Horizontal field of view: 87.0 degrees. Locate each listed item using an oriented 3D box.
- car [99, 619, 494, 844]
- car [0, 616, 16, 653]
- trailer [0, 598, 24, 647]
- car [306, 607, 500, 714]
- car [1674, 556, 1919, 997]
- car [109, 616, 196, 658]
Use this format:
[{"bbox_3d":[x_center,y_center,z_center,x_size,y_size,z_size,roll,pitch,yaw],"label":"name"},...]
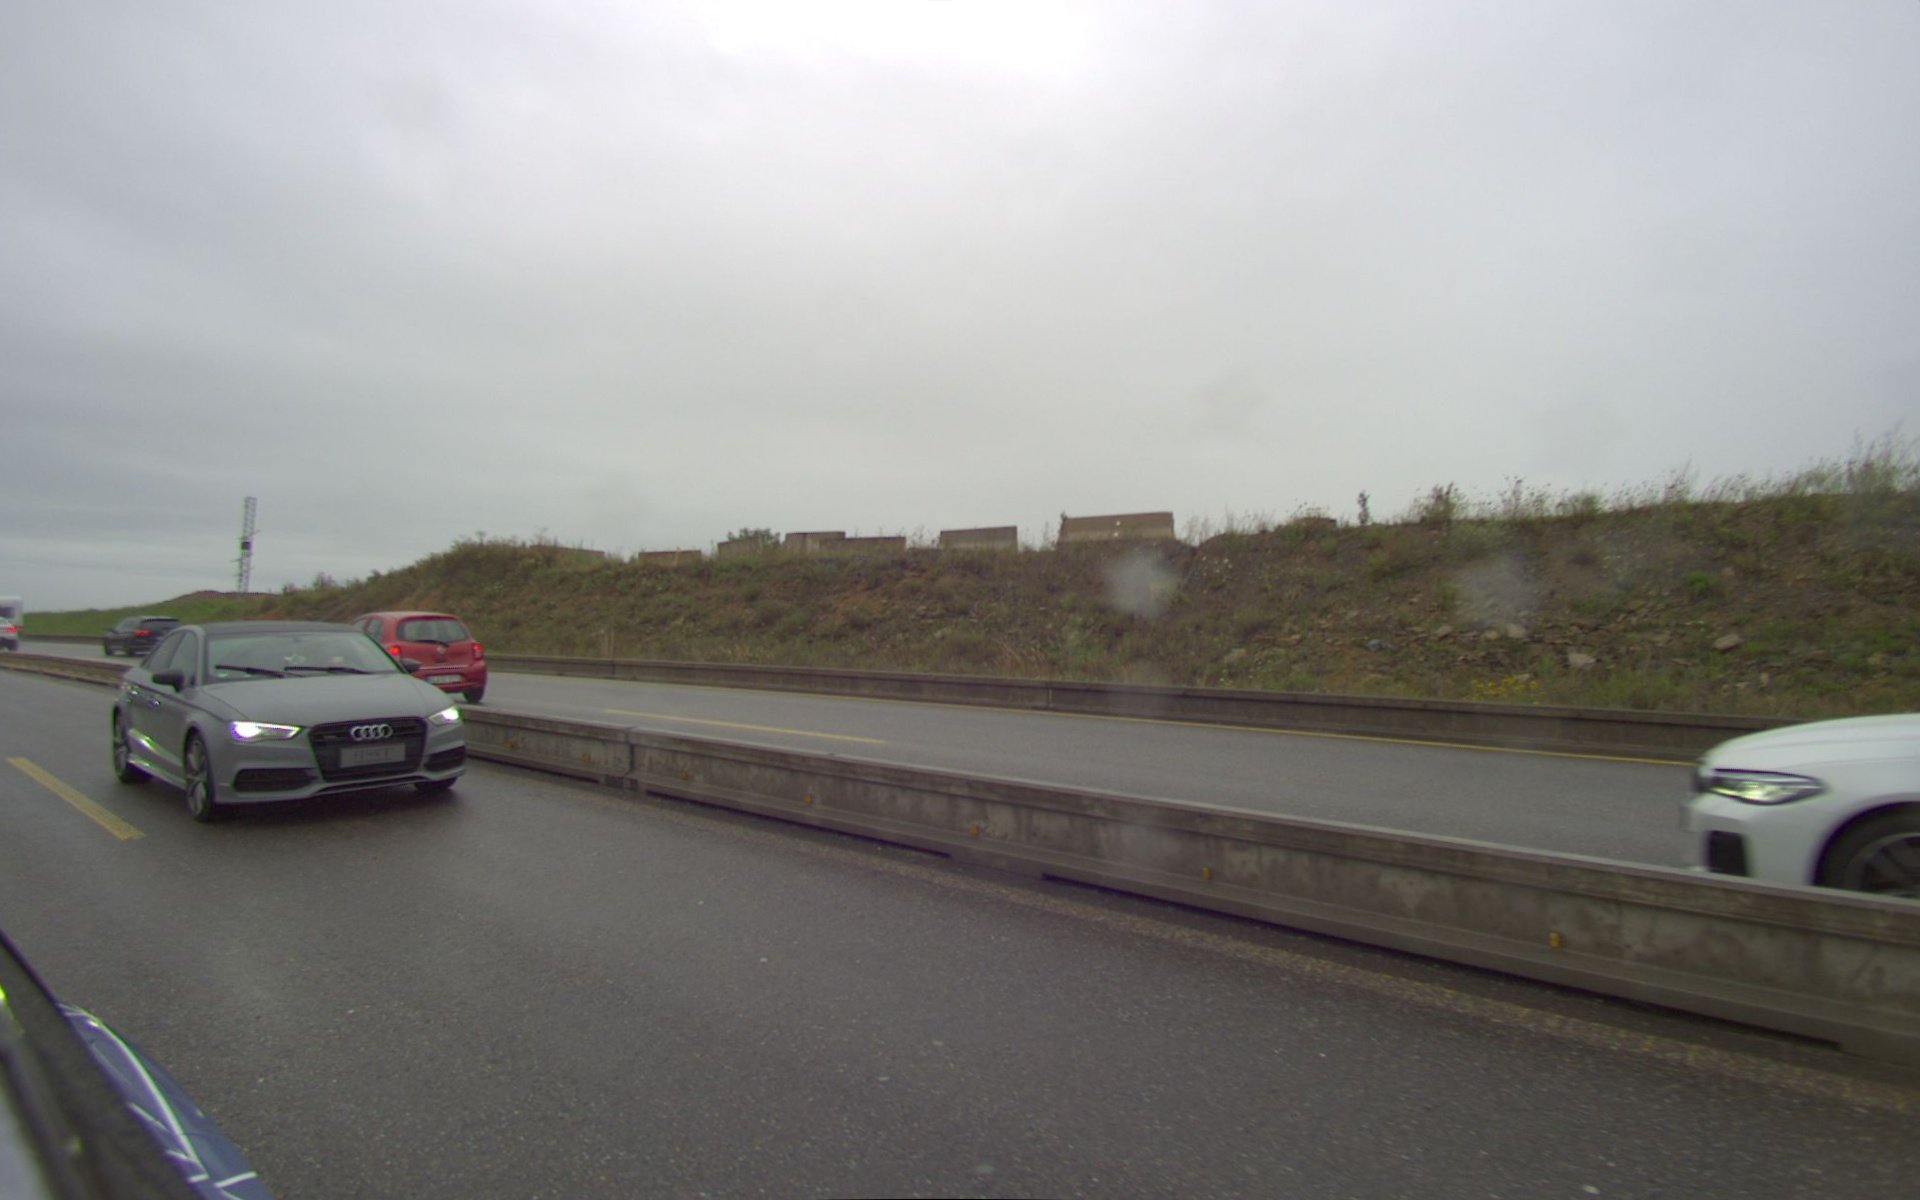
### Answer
[{"bbox_3d":[-5.703,0.877,8.497,4.086,1.393,1.781,-1,-1,42],"label":"car"},{"bbox_3d":[-41.290,1.494,42.453,4.329,1.511,1.859,-3,-1,38],"label":"car"},{"bbox_3d":[-54.657,1.295,56.385,7.151,2.584,2.487,-1,0,38],"label":"trailer"},{"bbox_3d":[-9.398,0.924,16.976,3.720,1.589,1.709,-1,-1,42],"label":"car"},{"bbox_3d":[5.541,0.650,3.338,4.990,1.645,2.023,-1,-1,43],"label":"car"},{"bbox_3d":[-30.434,1.358,38.095,4.669,1.454,1.750,-1,0,41],"label":"car"}]
